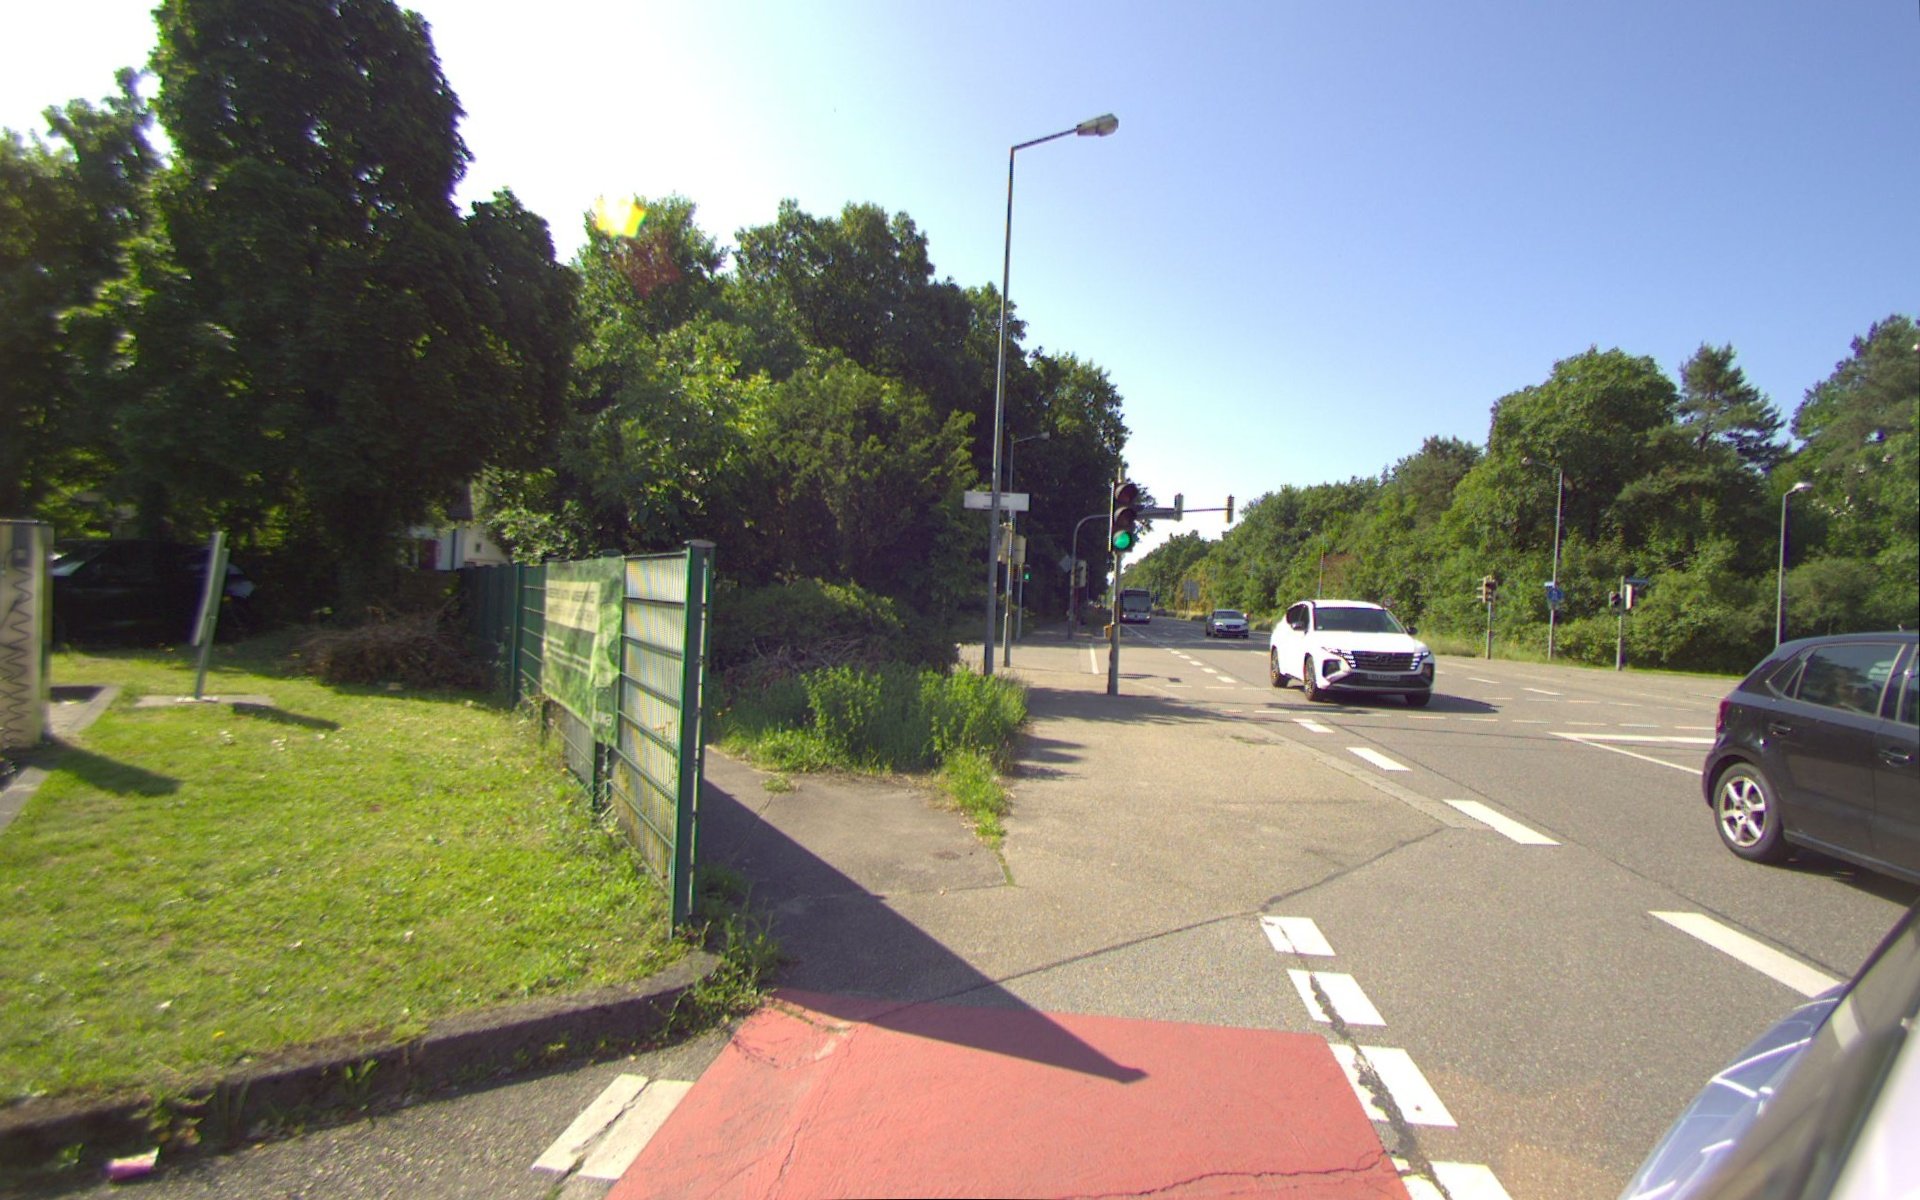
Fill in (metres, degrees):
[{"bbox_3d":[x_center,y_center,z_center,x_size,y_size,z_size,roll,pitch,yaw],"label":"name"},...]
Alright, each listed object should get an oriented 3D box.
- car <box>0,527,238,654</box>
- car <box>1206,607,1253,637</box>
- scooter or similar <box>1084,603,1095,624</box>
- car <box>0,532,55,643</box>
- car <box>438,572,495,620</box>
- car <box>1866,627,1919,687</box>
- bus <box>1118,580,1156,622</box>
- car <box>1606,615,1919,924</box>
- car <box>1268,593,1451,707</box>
[{"bbox_3d":[-12.208,-0.149,13.791,1.654,1.530,3.934,3,0,5],"label":"car"},{"bbox_3d":[13.827,1.114,52.128,1.760,1.442,4.412,1,-1,8],"label":"car"},{"bbox_3d":[8.409,0.876,65.728,0.393,1.323,1.332,3,0,-7],"label":"scooter or similar"},{"bbox_3d":[-15.128,-0.222,13.897,1.654,1.649,3.934,2,0,5],"label":"car"},{"bbox_3d":[-16.919,-0.172,34.666,1.595,1.482,3.994,3,0,-27],"label":"car"},{"bbox_3d":[31.741,1.927,31.746,4.585,1.800,1.848,4,1,9],"label":"car"},{"bbox_3d":[15.322,0.051,88.014,2.737,3.501,7.778,1,0,7],"label":"bus"},{"bbox_3d":[5.405,0.823,5.275,1.621,1.449,4.051,0,0,3],"label":"car"},{"bbox_3d":[6.668,0.755,17.405,1.782,1.669,4.300,1,0,6],"label":"car"}]
